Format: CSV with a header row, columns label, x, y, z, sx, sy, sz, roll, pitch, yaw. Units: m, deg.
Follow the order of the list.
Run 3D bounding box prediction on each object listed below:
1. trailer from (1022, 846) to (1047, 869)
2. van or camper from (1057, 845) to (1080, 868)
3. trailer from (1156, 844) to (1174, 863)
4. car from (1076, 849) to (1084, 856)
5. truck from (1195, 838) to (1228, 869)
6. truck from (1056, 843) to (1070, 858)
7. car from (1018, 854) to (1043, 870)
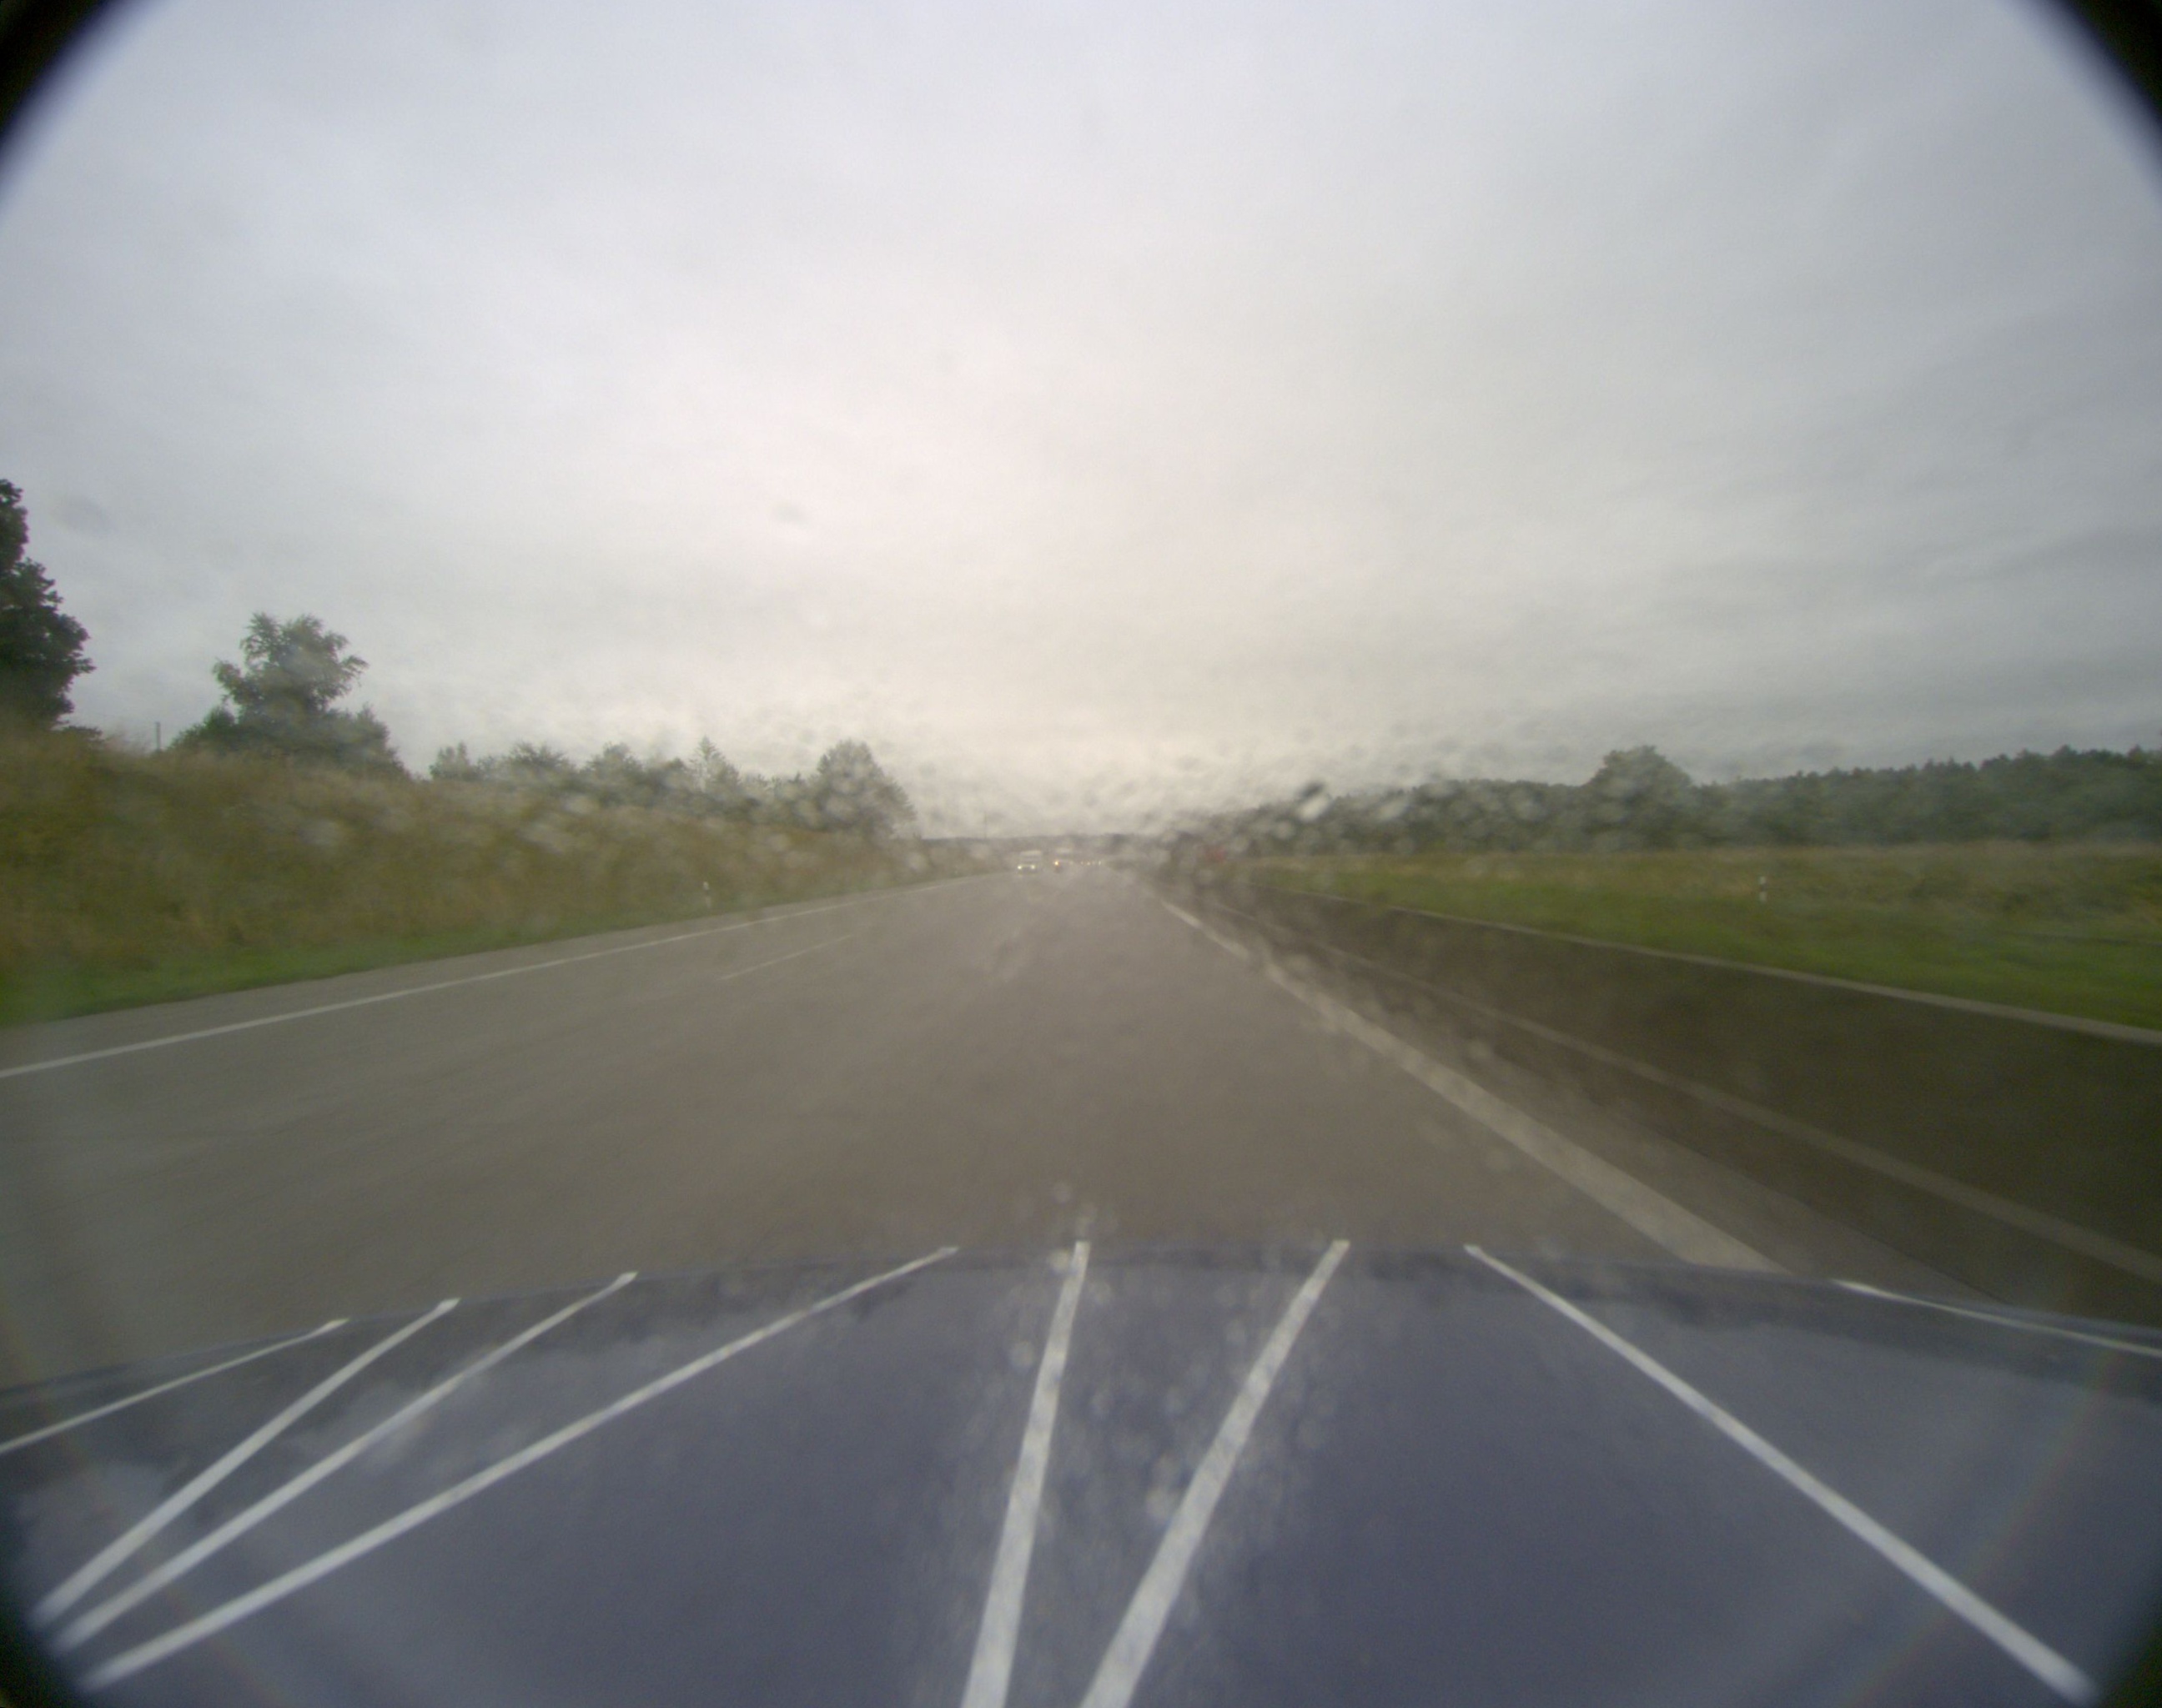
label,x,y,z,sx,sy,sz,roll,pitch,yaw
trailer,-5.231,0.327,86.878,2.348,2.445,5.939,0,1,1
van or camper,-1.380,0.241,86.355,2.233,2.537,7.950,0,0,1
trailer,20.775,-0.099,188.748,3.236,4.315,13.554,-2,0,2
car,-0.251,-0.387,202.377,1.998,1.575,5.011,-1,0,2
truck,18.498,-0.217,108.530,2.761,4.183,13.100,0,2,1
truck,-3.687,-0.706,159.239,2.496,3.197,7.072,-1,0,2
car,-5.342,0.820,80.918,1.998,1.576,5.953,-2,0,1
